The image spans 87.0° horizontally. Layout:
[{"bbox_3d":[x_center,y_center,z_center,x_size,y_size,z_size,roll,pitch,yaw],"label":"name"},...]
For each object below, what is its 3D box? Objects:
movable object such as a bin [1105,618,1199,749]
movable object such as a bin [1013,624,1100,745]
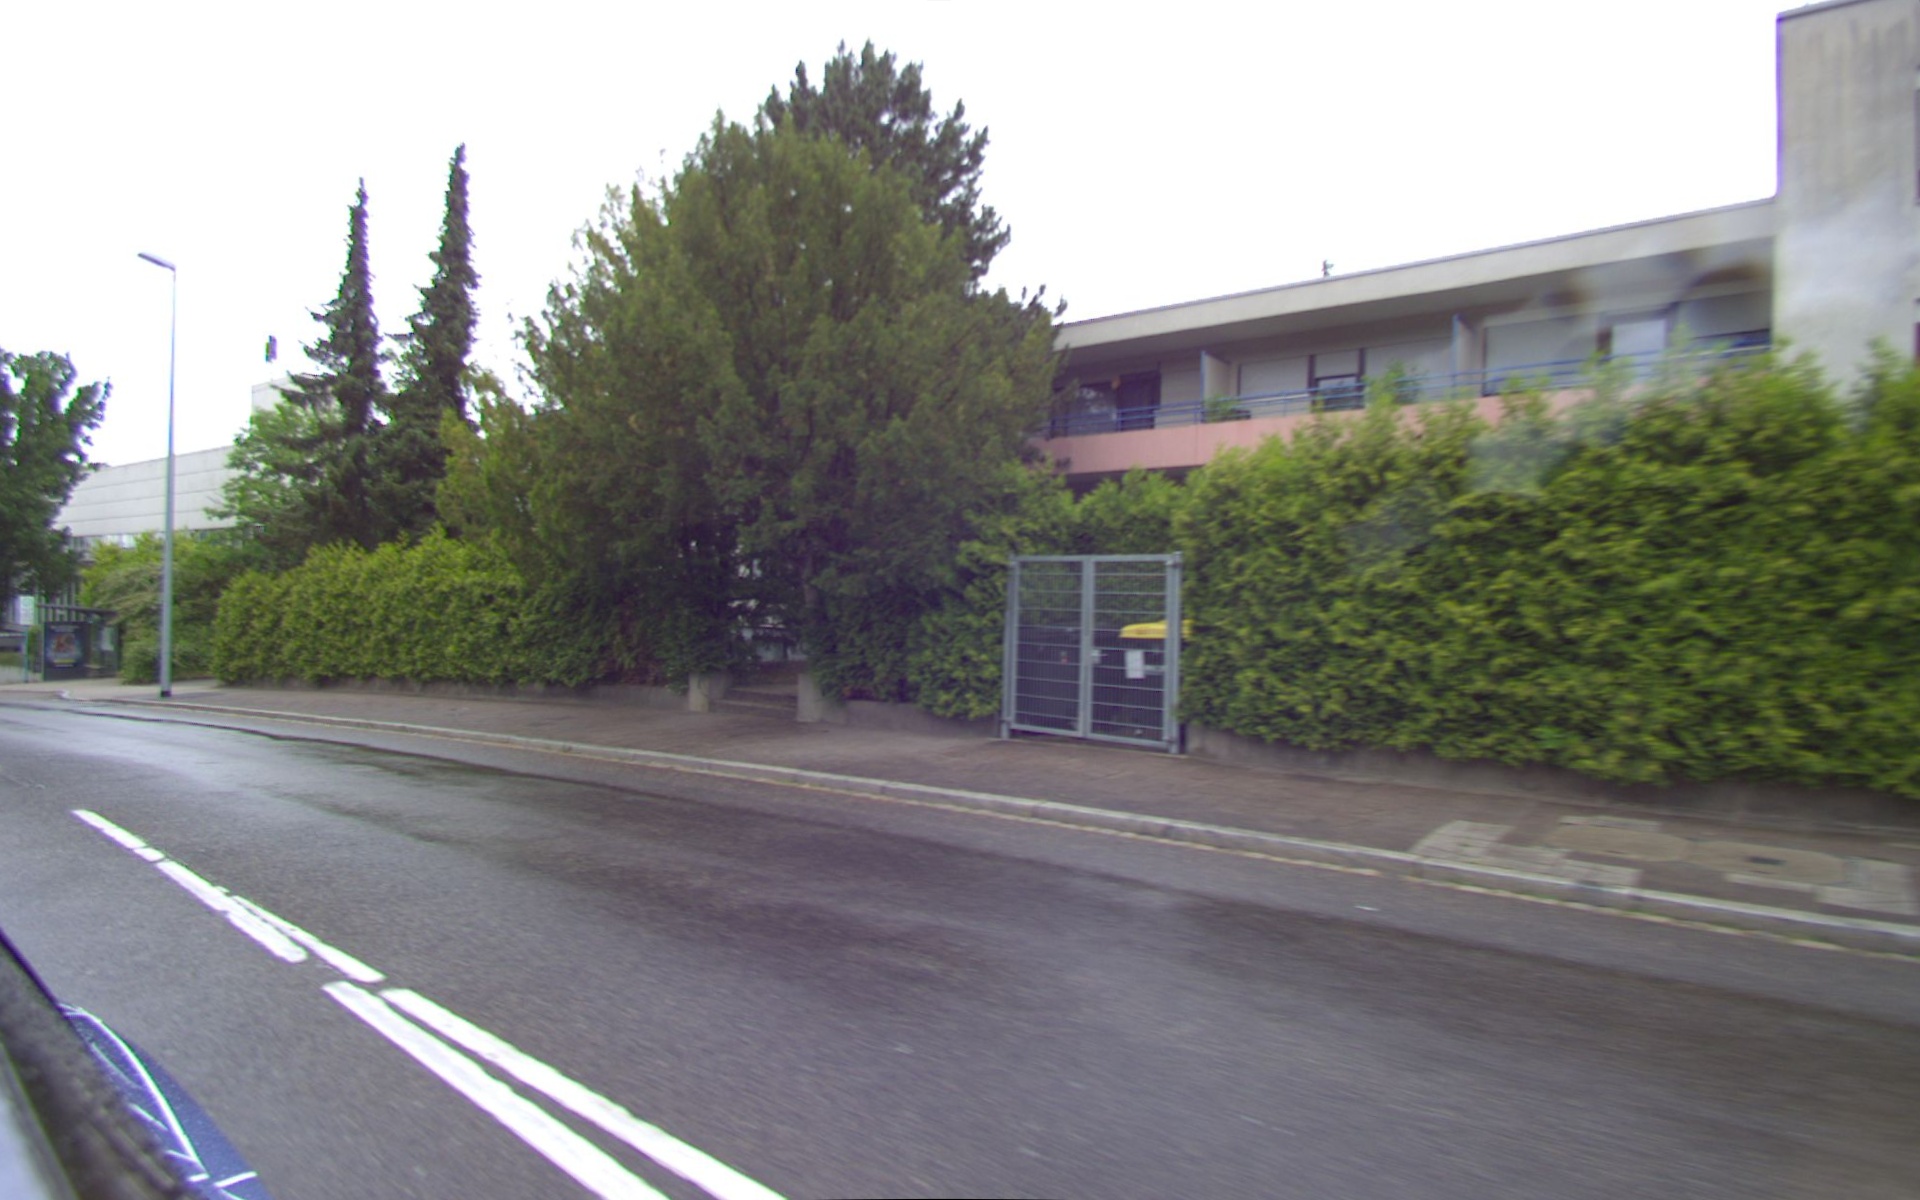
[{"bbox_3d":[2.068,0.876,10.913,0.805,1.336,0.542,-3,-1,39],"label":"movable object such as a bin"},{"bbox_3d":[1.122,0.960,11.792,0.805,1.336,0.542,-3,-1,39],"label":"movable object such as a bin"}]
